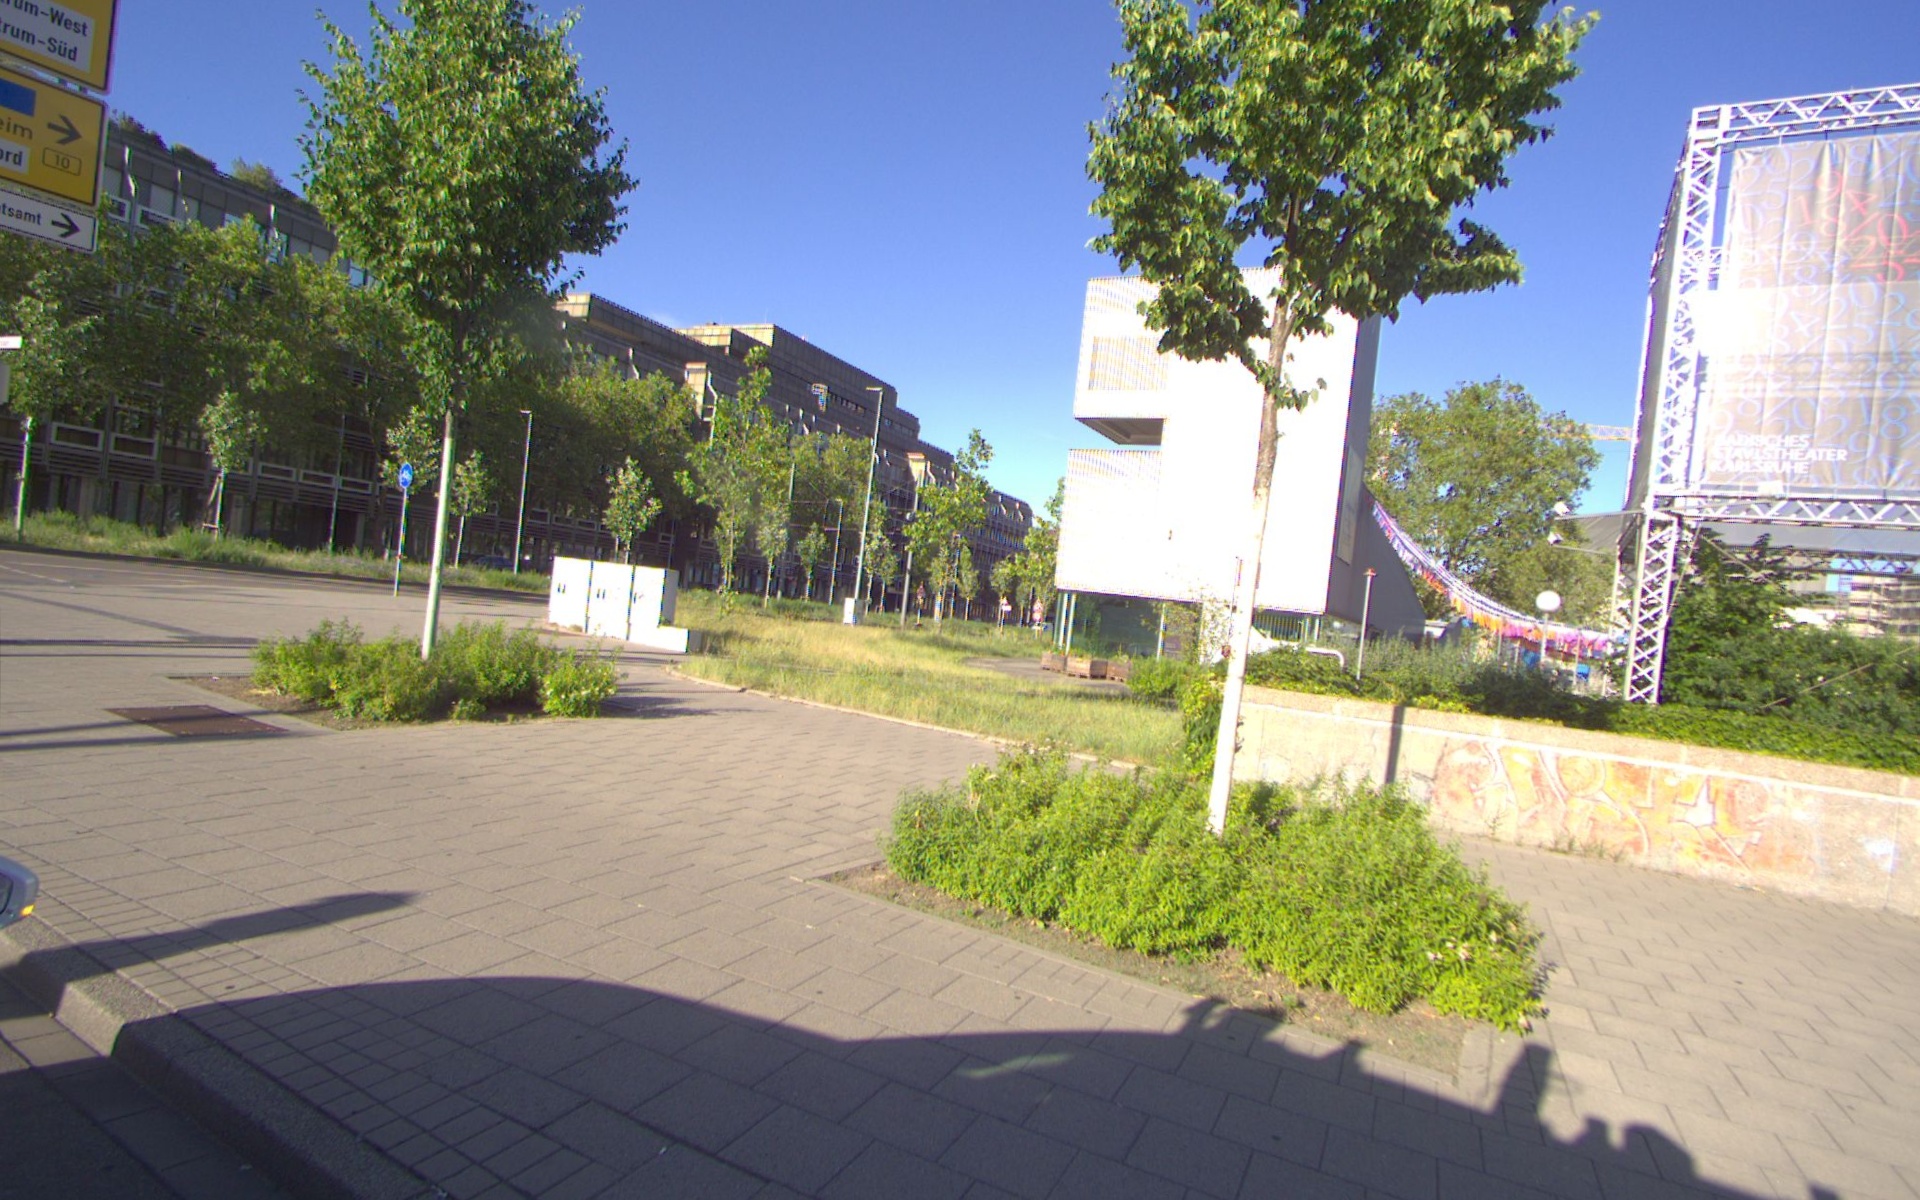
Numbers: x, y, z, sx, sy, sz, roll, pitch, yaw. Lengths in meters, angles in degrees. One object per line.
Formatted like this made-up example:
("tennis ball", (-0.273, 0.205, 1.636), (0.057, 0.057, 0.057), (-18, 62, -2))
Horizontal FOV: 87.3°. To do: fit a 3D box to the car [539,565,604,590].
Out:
("car", (-25.608, -1.445, 66.459), (1.605, 1.359, 3.994), (6, 1, 23))
